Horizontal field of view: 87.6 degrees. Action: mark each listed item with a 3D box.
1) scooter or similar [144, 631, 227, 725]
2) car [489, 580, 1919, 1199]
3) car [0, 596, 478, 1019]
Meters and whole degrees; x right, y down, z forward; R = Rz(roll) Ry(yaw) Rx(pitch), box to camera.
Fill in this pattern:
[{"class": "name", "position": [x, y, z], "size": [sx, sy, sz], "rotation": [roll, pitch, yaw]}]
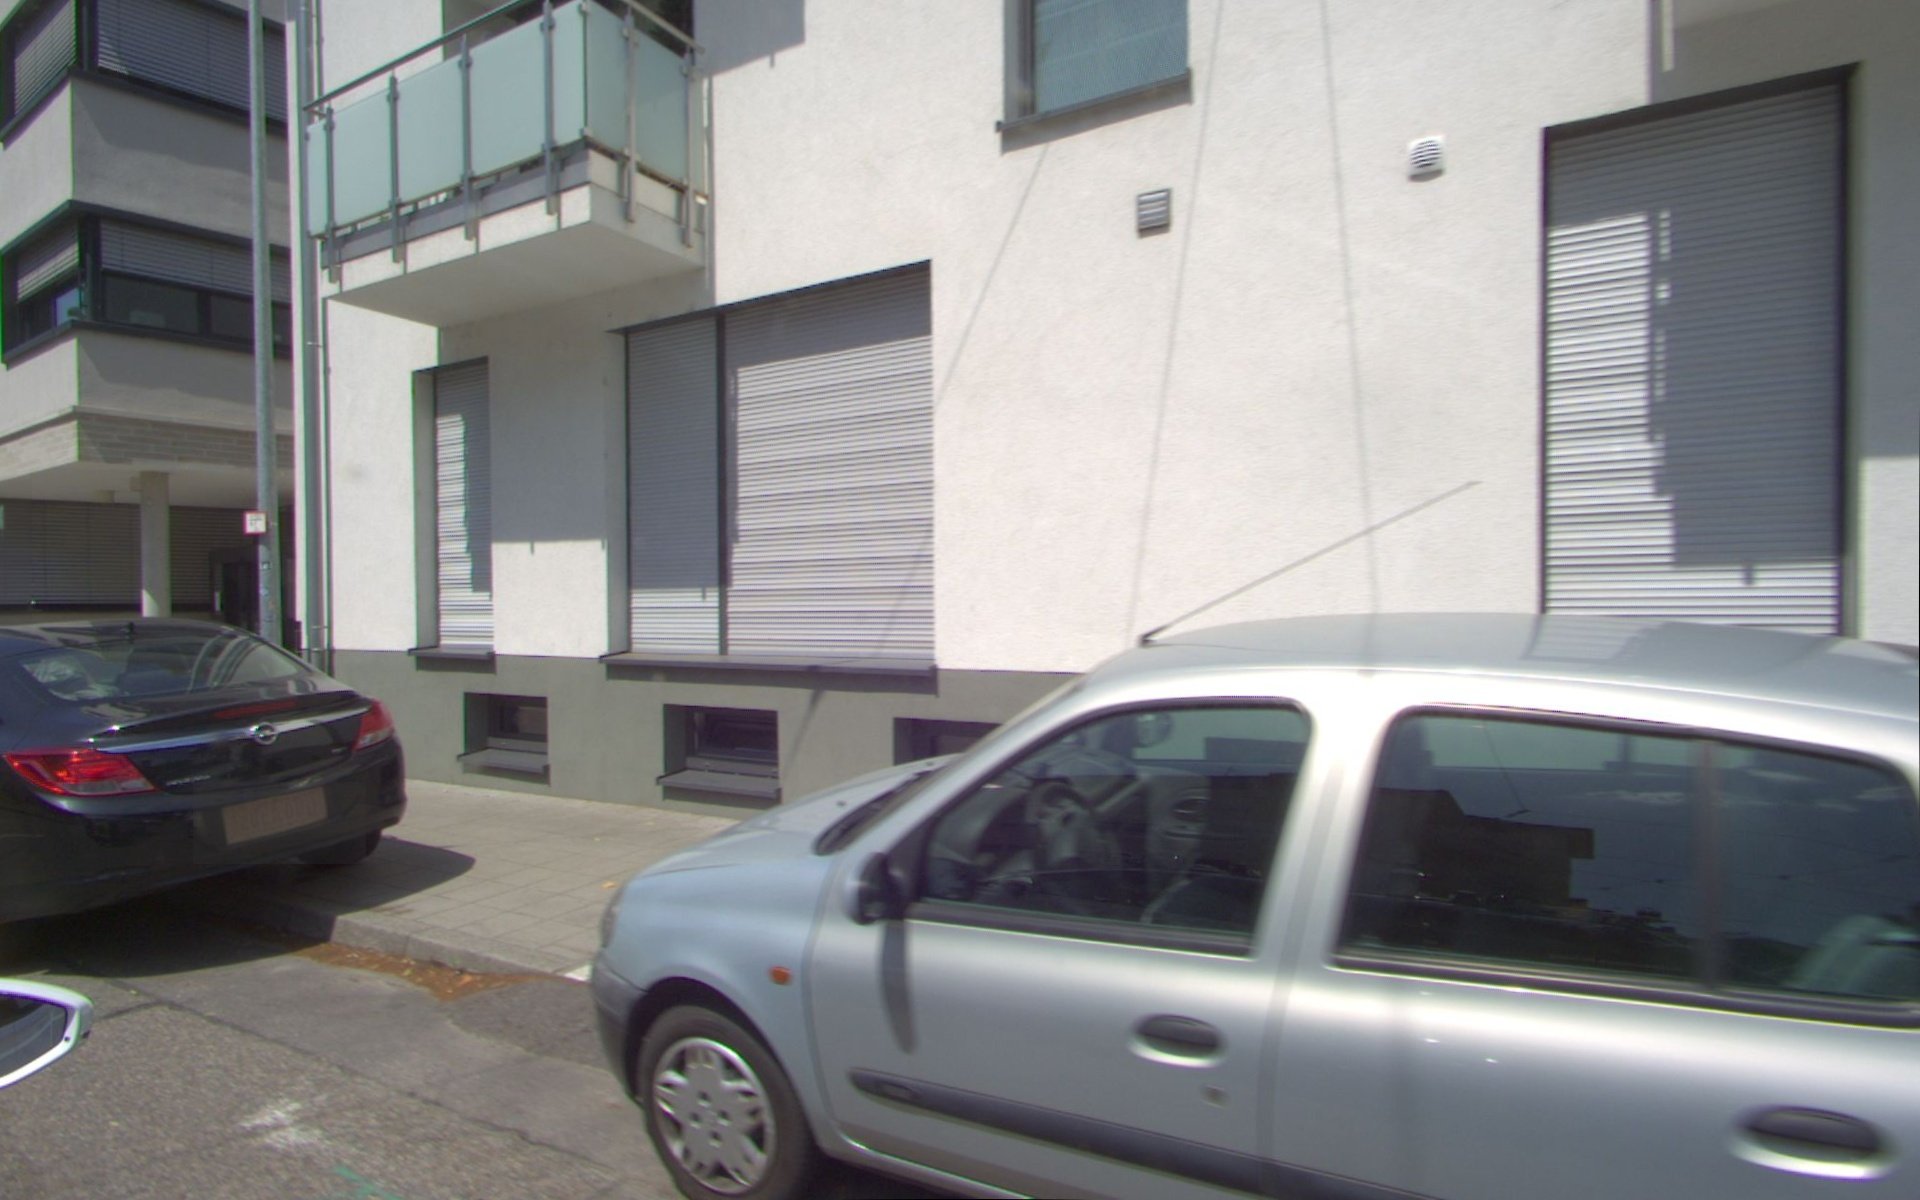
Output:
[{"class": "scooter or similar", "position": [-10.610, 1.045, 13.714], "size": [1.294, 1.227, 0.421], "rotation": [0, 0, 29]}, {"class": "car", "position": [0.715, 0.752, 2.529], "size": [3.651, 1.453, 1.589], "rotation": [-1, 2, 30]}, {"class": "car", "position": [-5.003, 0.838, 5.626], "size": [4.478, 1.530, 1.797], "rotation": [-2, 2, 28]}]
